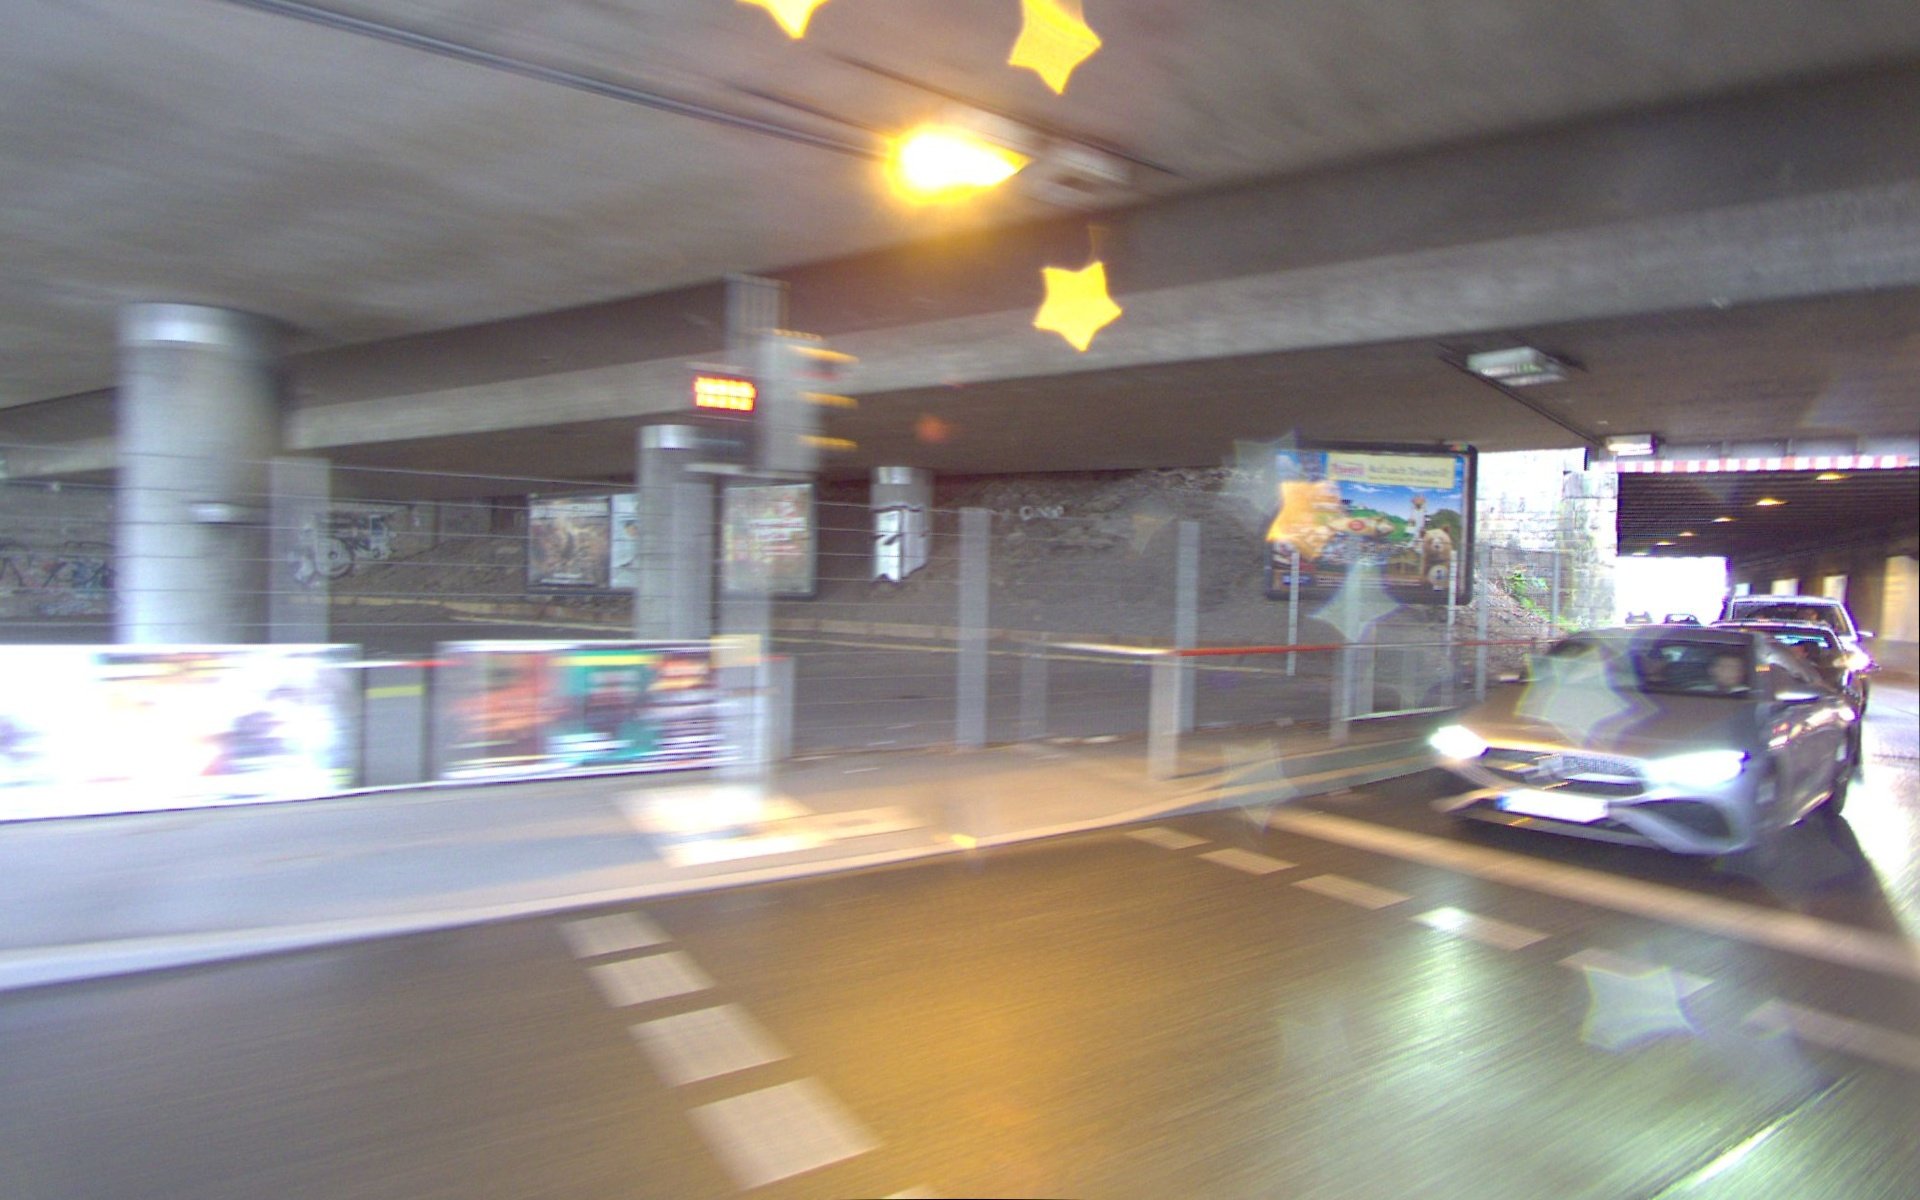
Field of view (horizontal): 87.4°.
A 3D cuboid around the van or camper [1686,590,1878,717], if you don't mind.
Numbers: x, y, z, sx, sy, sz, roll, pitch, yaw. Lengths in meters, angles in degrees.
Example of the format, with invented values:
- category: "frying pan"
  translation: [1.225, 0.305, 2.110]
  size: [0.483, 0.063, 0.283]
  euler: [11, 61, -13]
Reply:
- category: "van or camper"
  translation: [14.236, 0.833, 17.708]
  size: [1.965, 1.893, 5.126]
  euler: [1, -1, 32]

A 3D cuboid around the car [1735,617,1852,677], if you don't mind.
- category: "car"
  translation: [22.907, 1.231, 27.757]
  size: [1.809, 1.457, 4.095]
  euler: [1, 0, 30]

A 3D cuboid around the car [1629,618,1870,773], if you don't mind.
- category: "car"
  translation: [9.537, 0.980, 12.002]
  size: [1.972, 1.484, 4.083]
  euler: [0, -1, 42]

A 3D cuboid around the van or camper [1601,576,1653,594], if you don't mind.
- category: "van or camper"
  translation: [81.195, -1.865, 122.324]
  size: [5.236, 2.041, 2.072]
  euler: [2, 1, 34]

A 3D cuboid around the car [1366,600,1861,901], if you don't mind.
- category: "car"
  translation: [5.015, 0.835, 7.422]
  size: [4.466, 1.550, 1.976]
  euler: [2, -1, -42]
